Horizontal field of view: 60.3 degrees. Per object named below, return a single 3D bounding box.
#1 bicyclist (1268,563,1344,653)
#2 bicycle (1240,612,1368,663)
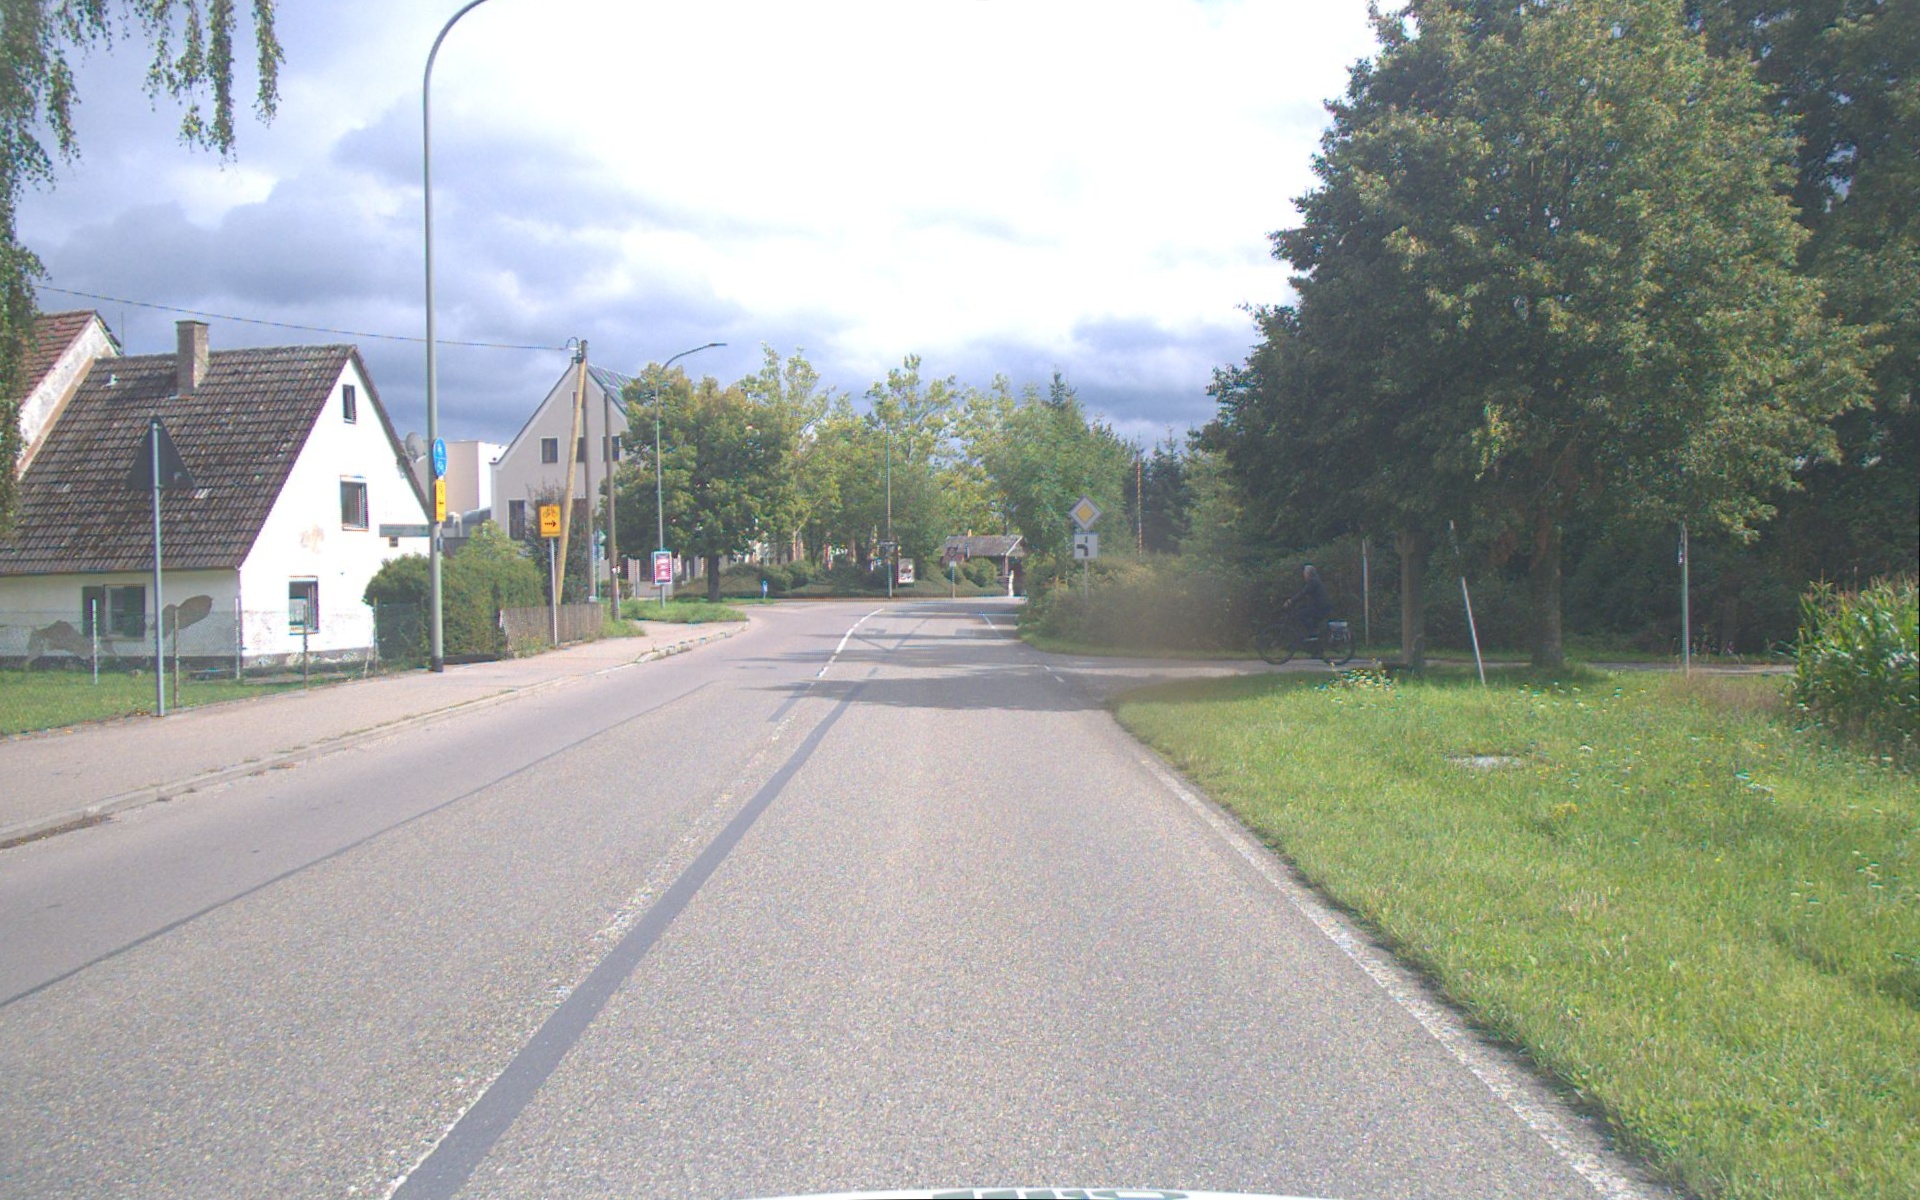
[{"bbox_3d":[6.357,0.134,30.441,1.000,1.613,1.050,0,1,-15],"label":"bicyclist"},{"bbox_3d":[6.327,0.675,30.442,2.080,0.879,1.050,0,1,-15],"label":"bicycle"}]
